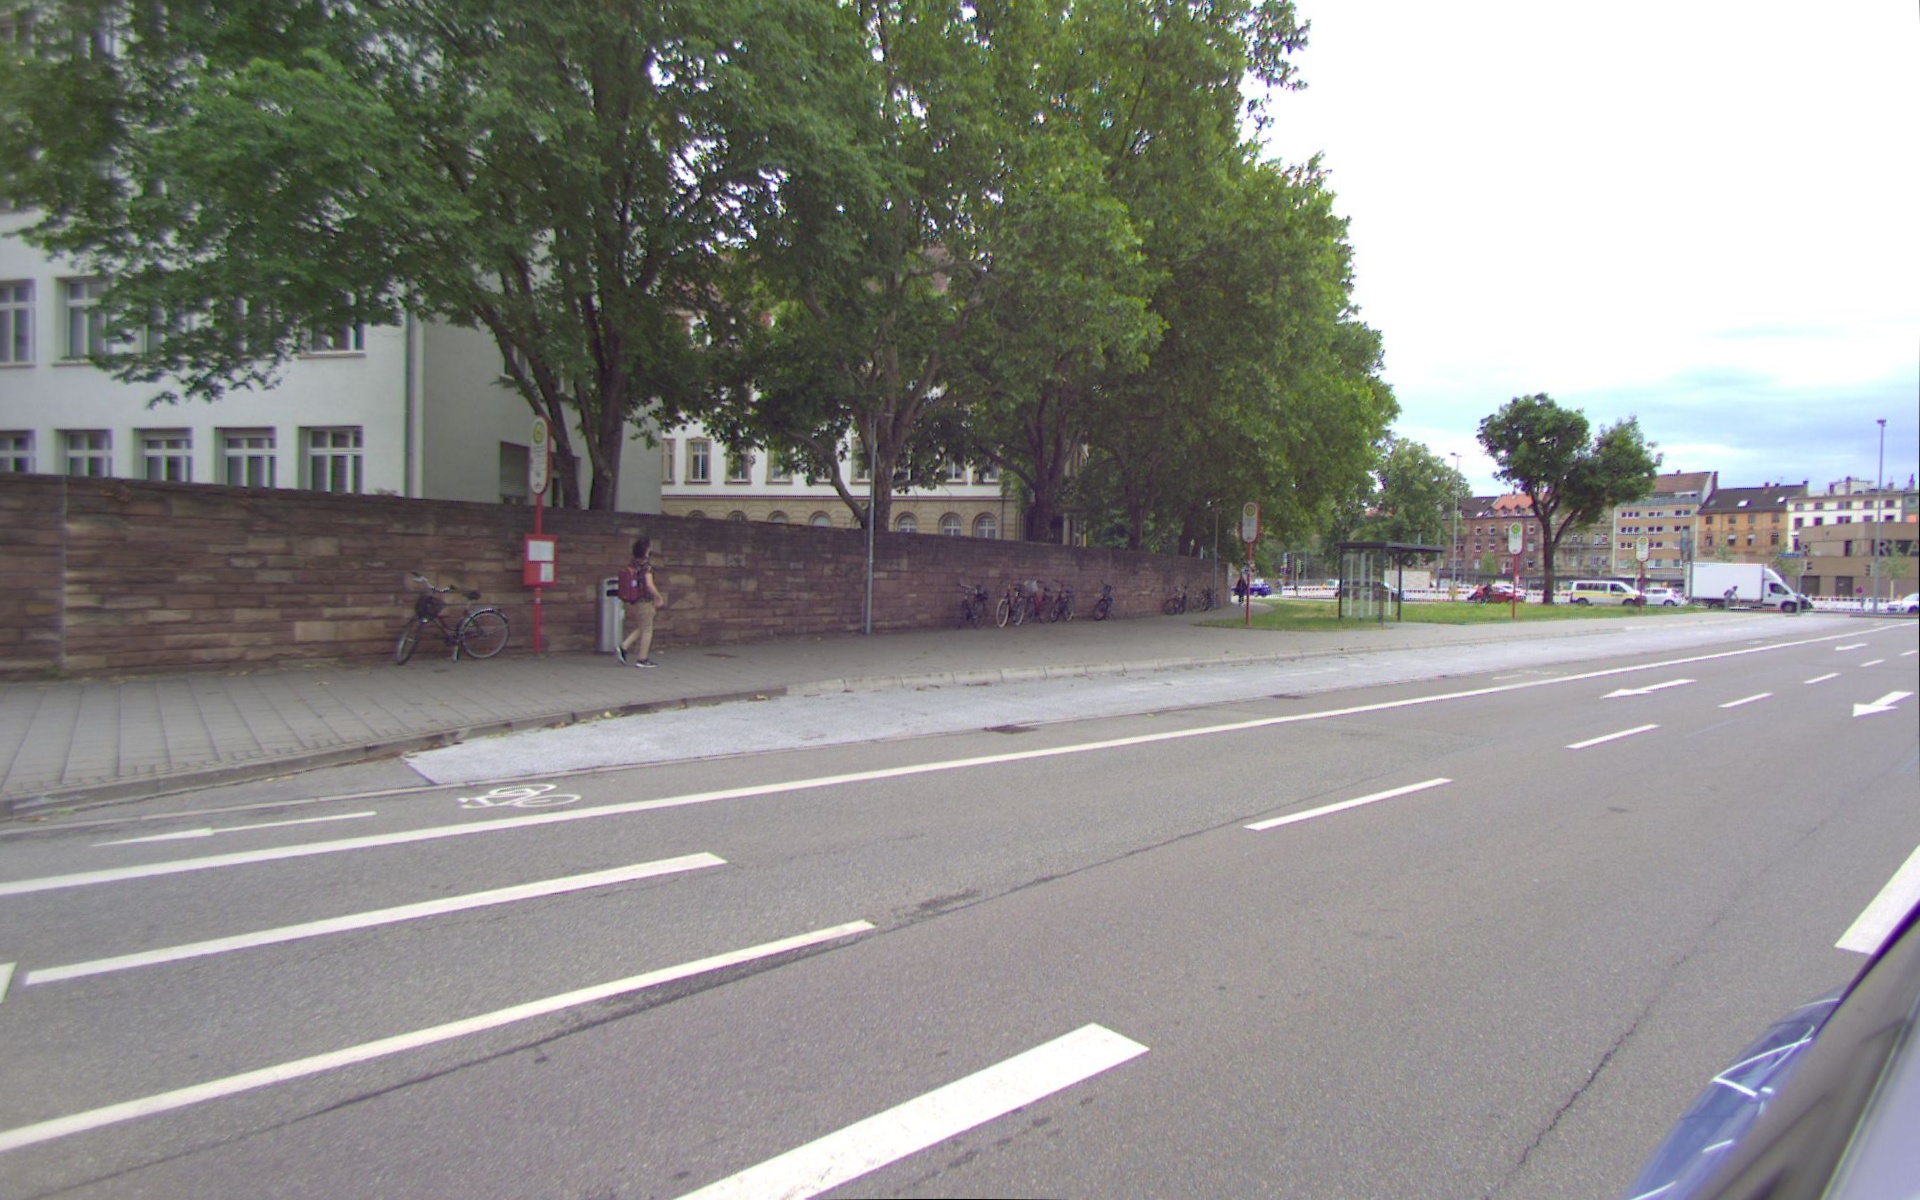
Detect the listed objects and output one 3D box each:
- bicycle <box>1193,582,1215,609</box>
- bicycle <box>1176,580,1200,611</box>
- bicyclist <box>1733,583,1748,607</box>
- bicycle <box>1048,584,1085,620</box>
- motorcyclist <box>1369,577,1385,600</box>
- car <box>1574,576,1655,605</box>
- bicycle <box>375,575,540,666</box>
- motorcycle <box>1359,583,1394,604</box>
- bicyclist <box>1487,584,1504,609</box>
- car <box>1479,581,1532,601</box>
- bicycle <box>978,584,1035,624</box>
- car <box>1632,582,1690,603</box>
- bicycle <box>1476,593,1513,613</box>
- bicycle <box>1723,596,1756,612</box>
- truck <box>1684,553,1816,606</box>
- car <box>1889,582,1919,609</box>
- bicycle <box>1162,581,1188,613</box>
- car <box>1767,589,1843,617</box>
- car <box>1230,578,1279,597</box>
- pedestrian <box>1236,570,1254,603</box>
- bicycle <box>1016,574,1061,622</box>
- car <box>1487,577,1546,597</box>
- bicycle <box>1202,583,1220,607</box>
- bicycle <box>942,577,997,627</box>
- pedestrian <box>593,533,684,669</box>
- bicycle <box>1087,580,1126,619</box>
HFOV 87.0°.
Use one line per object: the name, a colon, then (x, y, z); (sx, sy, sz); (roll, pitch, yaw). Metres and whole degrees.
bicycle: (10.317, -0.217, 42.787); (0.589, 1.072, 1.700); (3, 2, 23)
bicycle: (8.957, -0.178, 39.673); (0.589, 1.143, 1.700); (3, 2, 23)
bicyclist: (52.028, -0.341, 67.463); (0.737, 1.526, 0.757); (4, 2, 39)
bicycle: (3.059, 0.043, 28.873); (0.414, 0.954, 1.508); (3, 2, 31)
motorcyclist: (35.045, -0.962, 85.055); (0.913, 1.851, 0.917); (4, 2, 37)
car: (48.306, -0.730, 74.732); (1.890, 1.942, 4.704); (-4, 4, -44)
bicycle: (-6.986, 0.239, 14.154); (0.845, 1.141, 1.900); (4, 3, 34)
motorcycle: (35.040, -0.568, 85.079); (2.501, 1.621, 0.917); (4, 3, 37)
bicyclist: (41.400, -0.307, 78.265); (0.893, 1.883, 0.753); (4, 3, 43)
car: (43.314, -0.706, 80.393); (3.422, 1.399, 1.266); (2, -6, 44)
bicycle: (1.199, 0.087, 25.758); (0.650, 0.963, 1.751); (3, 2, 31)
car: (53.308, -0.566, 76.974); (3.421, 1.407, 1.496); (4, 3, 43)
bicycle: (41.327, 0.217, 78.324); (2.384, 1.340, 0.753); (4, 3, 44)
bicycle: (51.968, 0.247, 67.500); (1.687, 0.926, 0.757); (4, 3, 39)
truck: (53.796, -1.449, 69.032); (6.835, 3.453, 2.520); (1, 3, 45)
car: (65.888, -0.249, 68.696); (3.838, 1.785, 1.839); (2, 2, 2)
bicycle: (8.122, -0.138, 38.162); (0.589, 1.150, 1.700); (3, 2, 23)
car: (59.487, 0.191, 71.259); (3.988, 1.704, 1.740); (4, 3, 43)
car: (29.700, -1.274, 102.045); (1.735, 1.767, 4.424); (0, 3, -43)
pedestrian: (15.621, -0.747, 55.473); (0.745, 1.756, 0.821); (3, 2, 10)
bicycle: (2.121, -0.075, 27.312); (0.496, 1.236, 1.609); (3, 2, 31)
car: (46.279, -1.095, 84.234); (4.017, 1.493, 1.794); (4, 3, 41)
bicycle: (11.005, -0.217, 44.357); (0.544, 1.004, 1.626); (3, 2, 20)
bicycle: (0.242, 0.023, 24.121); (0.712, 1.113, 1.781); (3, 2, 20)
pedestrian: (-4.544, -0.002, 14.319); (1.014, 1.844, 0.632); (1, 2, -41)
bicycle: (4.435, -0.043, 30.621); (0.593, 1.118, 1.638); (3, 2, 29)
